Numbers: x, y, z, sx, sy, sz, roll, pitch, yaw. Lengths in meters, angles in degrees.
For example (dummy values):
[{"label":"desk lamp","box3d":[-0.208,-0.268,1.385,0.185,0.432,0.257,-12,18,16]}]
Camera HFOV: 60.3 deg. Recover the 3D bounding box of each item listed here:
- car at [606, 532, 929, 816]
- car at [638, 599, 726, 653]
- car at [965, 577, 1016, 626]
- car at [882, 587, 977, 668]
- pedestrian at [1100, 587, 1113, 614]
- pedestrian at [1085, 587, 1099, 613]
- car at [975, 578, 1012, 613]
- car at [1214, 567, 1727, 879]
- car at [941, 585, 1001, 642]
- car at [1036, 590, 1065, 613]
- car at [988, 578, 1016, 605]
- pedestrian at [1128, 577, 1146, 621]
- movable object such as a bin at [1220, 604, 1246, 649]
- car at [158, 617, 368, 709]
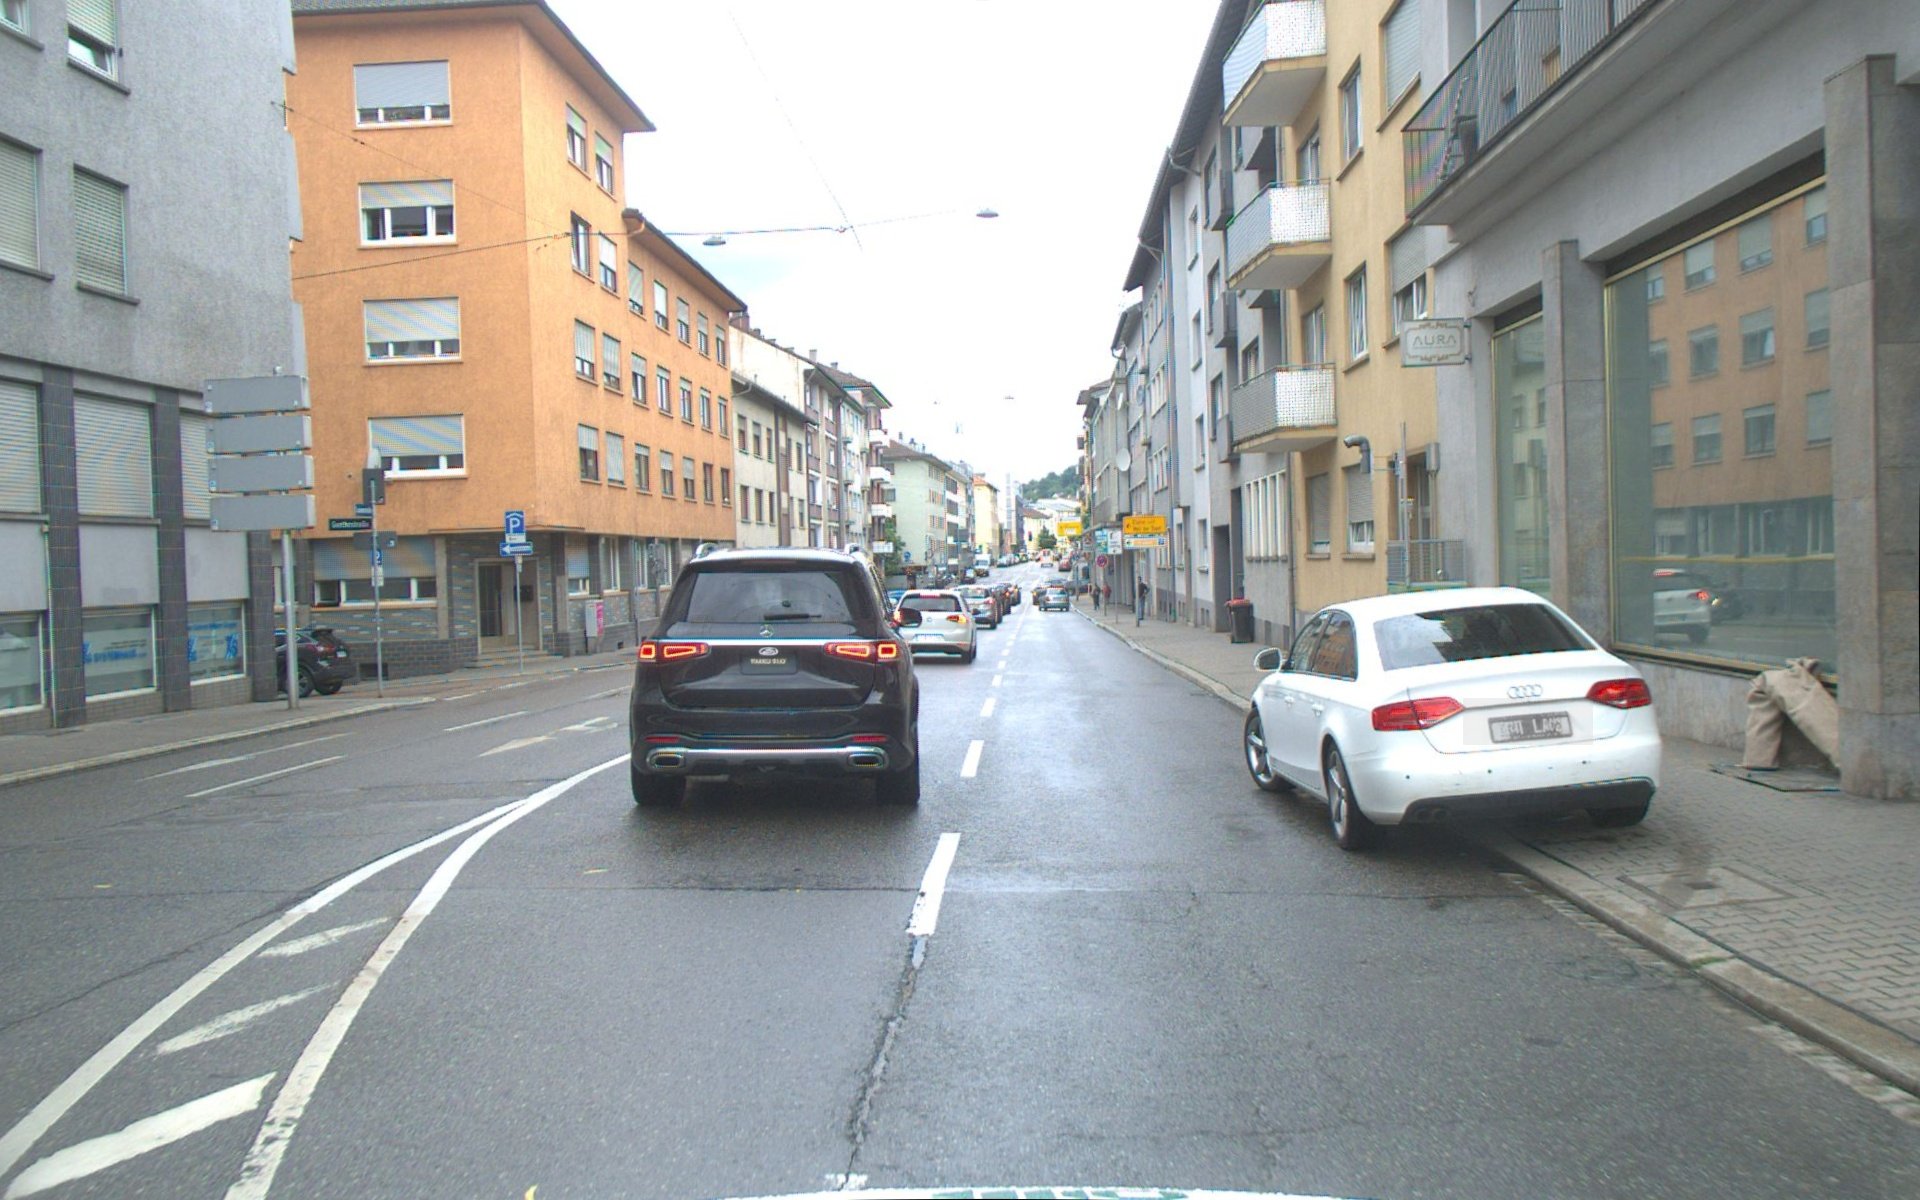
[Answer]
[{"label":"car","box3d":[-1.291,0.431,12.792,2.034,1.796,4.610,0,1,-2]},{"label":"car","box3d":[-8.368,0.752,50.120,1.852,1.484,4.550,0,1,1]},{"label":"car","box3d":[1.368,0.034,72.018,1.951,2.049,4.003,0,1,5]},{"label":"car","box3d":[-0.593,0.524,34.802,1.854,1.537,4.173,1,1,0]},{"label":"pedestrian","box3d":[8.813,0.024,99.387,0.803,1.592,0.900,0,0,5]},{"label":"pedestrian","box3d":[7.952,0.003,99.468,0.803,1.592,0.900,0,0,5]},{"label":"car","box3d":[1.986,-0.281,97.365,1.951,2.049,4.003,0,1,5]},{"label":"car","box3d":[3.018,0.613,10.929,1.855,1.426,4.609,-6,1,0]},{"label":"car","box3d":[0.438,0.487,62.136,1.951,2.049,4.003,0,1,5]},{"label":"car","box3d":[5.819,0.053,106.438,1.698,1.412,4.583,0,1,1]},{"label":"car","box3d":[3.318,-0.692,129.342,1.951,2.049,4.003,0,1,5]},{"label":"pedestrian","box3d":[7.276,-0.046,68.072,0.641,1.782,0.742,-3,0,7]},{"label":"movable object such as a bin","box3d":[6.227,0.597,37.721,0.463,0.979,0.564,-4,0,4]},{"label":"car","box3d":[-16.082,1.430,38.302,3.905,1.680,1.931,-5,0,2]}]
